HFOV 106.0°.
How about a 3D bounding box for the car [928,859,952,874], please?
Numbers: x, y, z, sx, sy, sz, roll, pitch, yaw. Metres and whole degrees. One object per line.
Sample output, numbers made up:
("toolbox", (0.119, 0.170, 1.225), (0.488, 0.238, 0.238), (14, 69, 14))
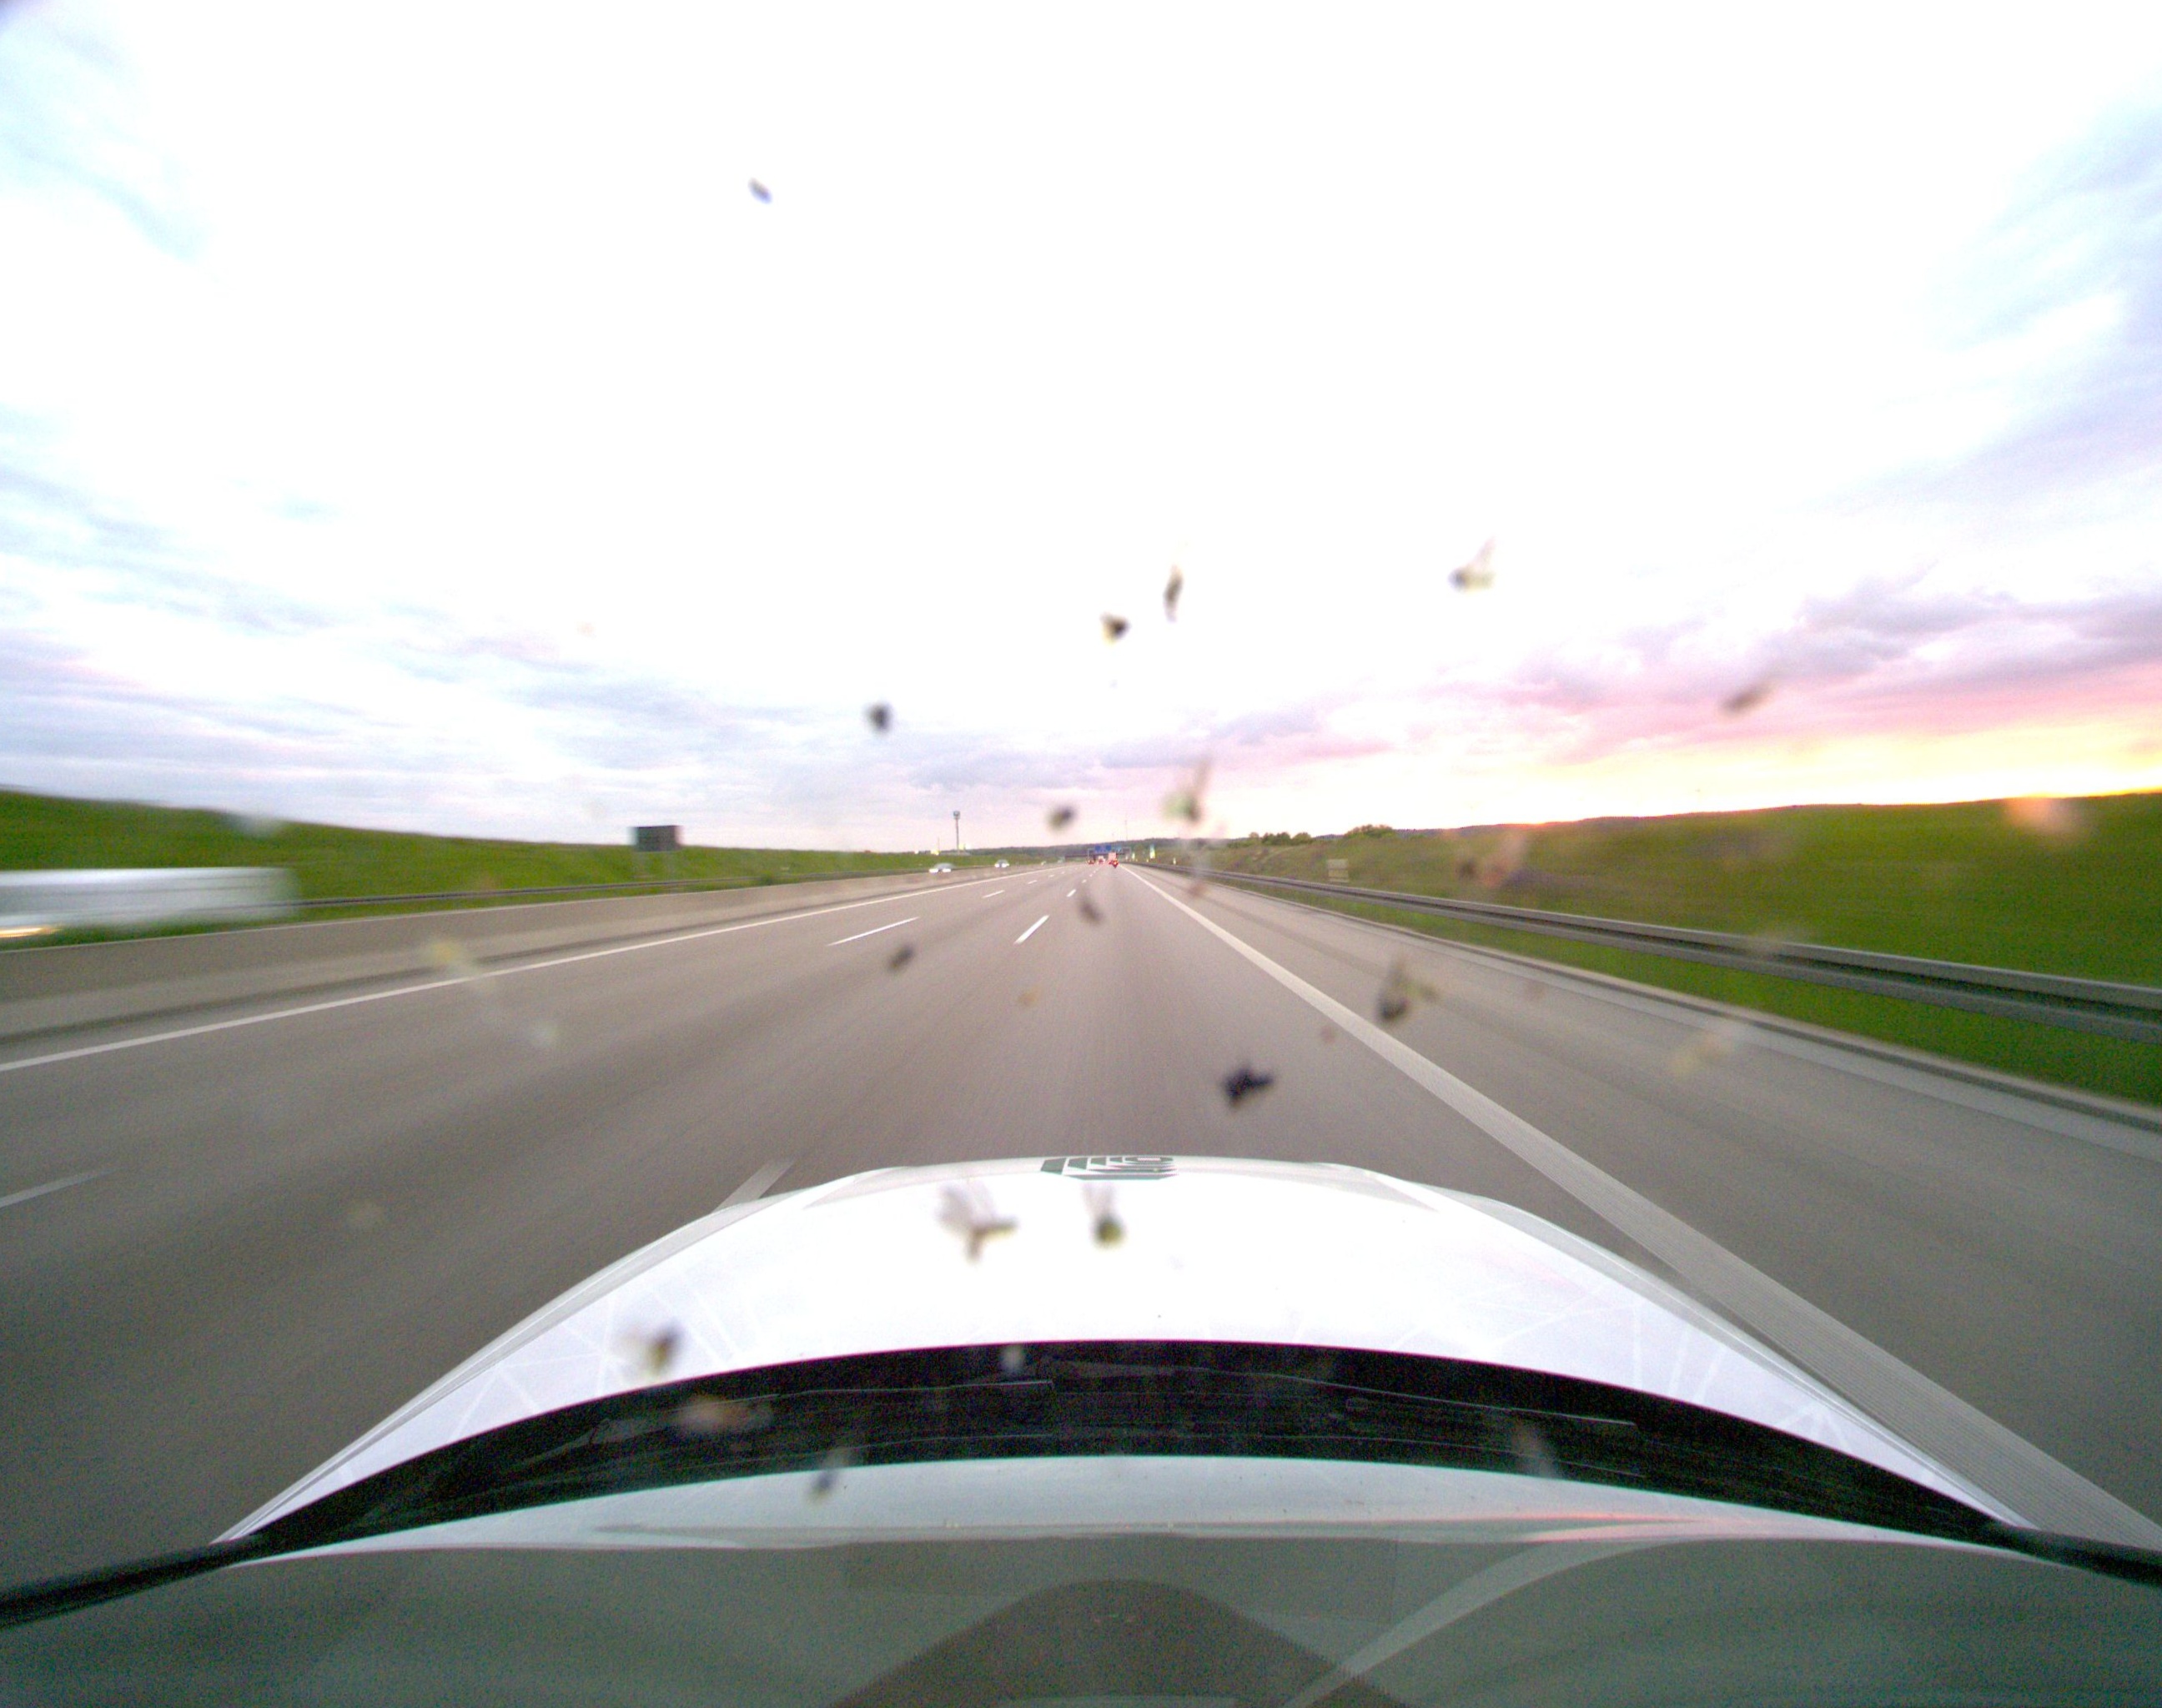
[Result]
("car", (-16.122, 1.366, 93.543), (1.818, 1.662, 4.653), (0, 0, 2))

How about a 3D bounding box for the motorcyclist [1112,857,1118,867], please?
("motorcyclist", (5.078, 1.129, 121.587), (0.862, 1.488, 1.169), (0, 0, 3))

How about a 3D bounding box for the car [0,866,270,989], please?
("car", (-18.358, 1.232, 15.017), (1.816, 1.935, 4.895), (0, 0, 1))

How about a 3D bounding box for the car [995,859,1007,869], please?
("car", (-16.437, 1.997, 167.632), (1.986, 1.936, 5.091), (-1, 0, 1))

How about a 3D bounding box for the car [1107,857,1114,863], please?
("car", (9.145, 1.880, 252.725), (1.911, 1.579, 4.001), (-2, -1, 1))

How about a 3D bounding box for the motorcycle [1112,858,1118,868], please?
("motorcycle", (5.092, 1.322, 121.660), (0.898, 1.346, 2.350), (-2, 0, 2))
